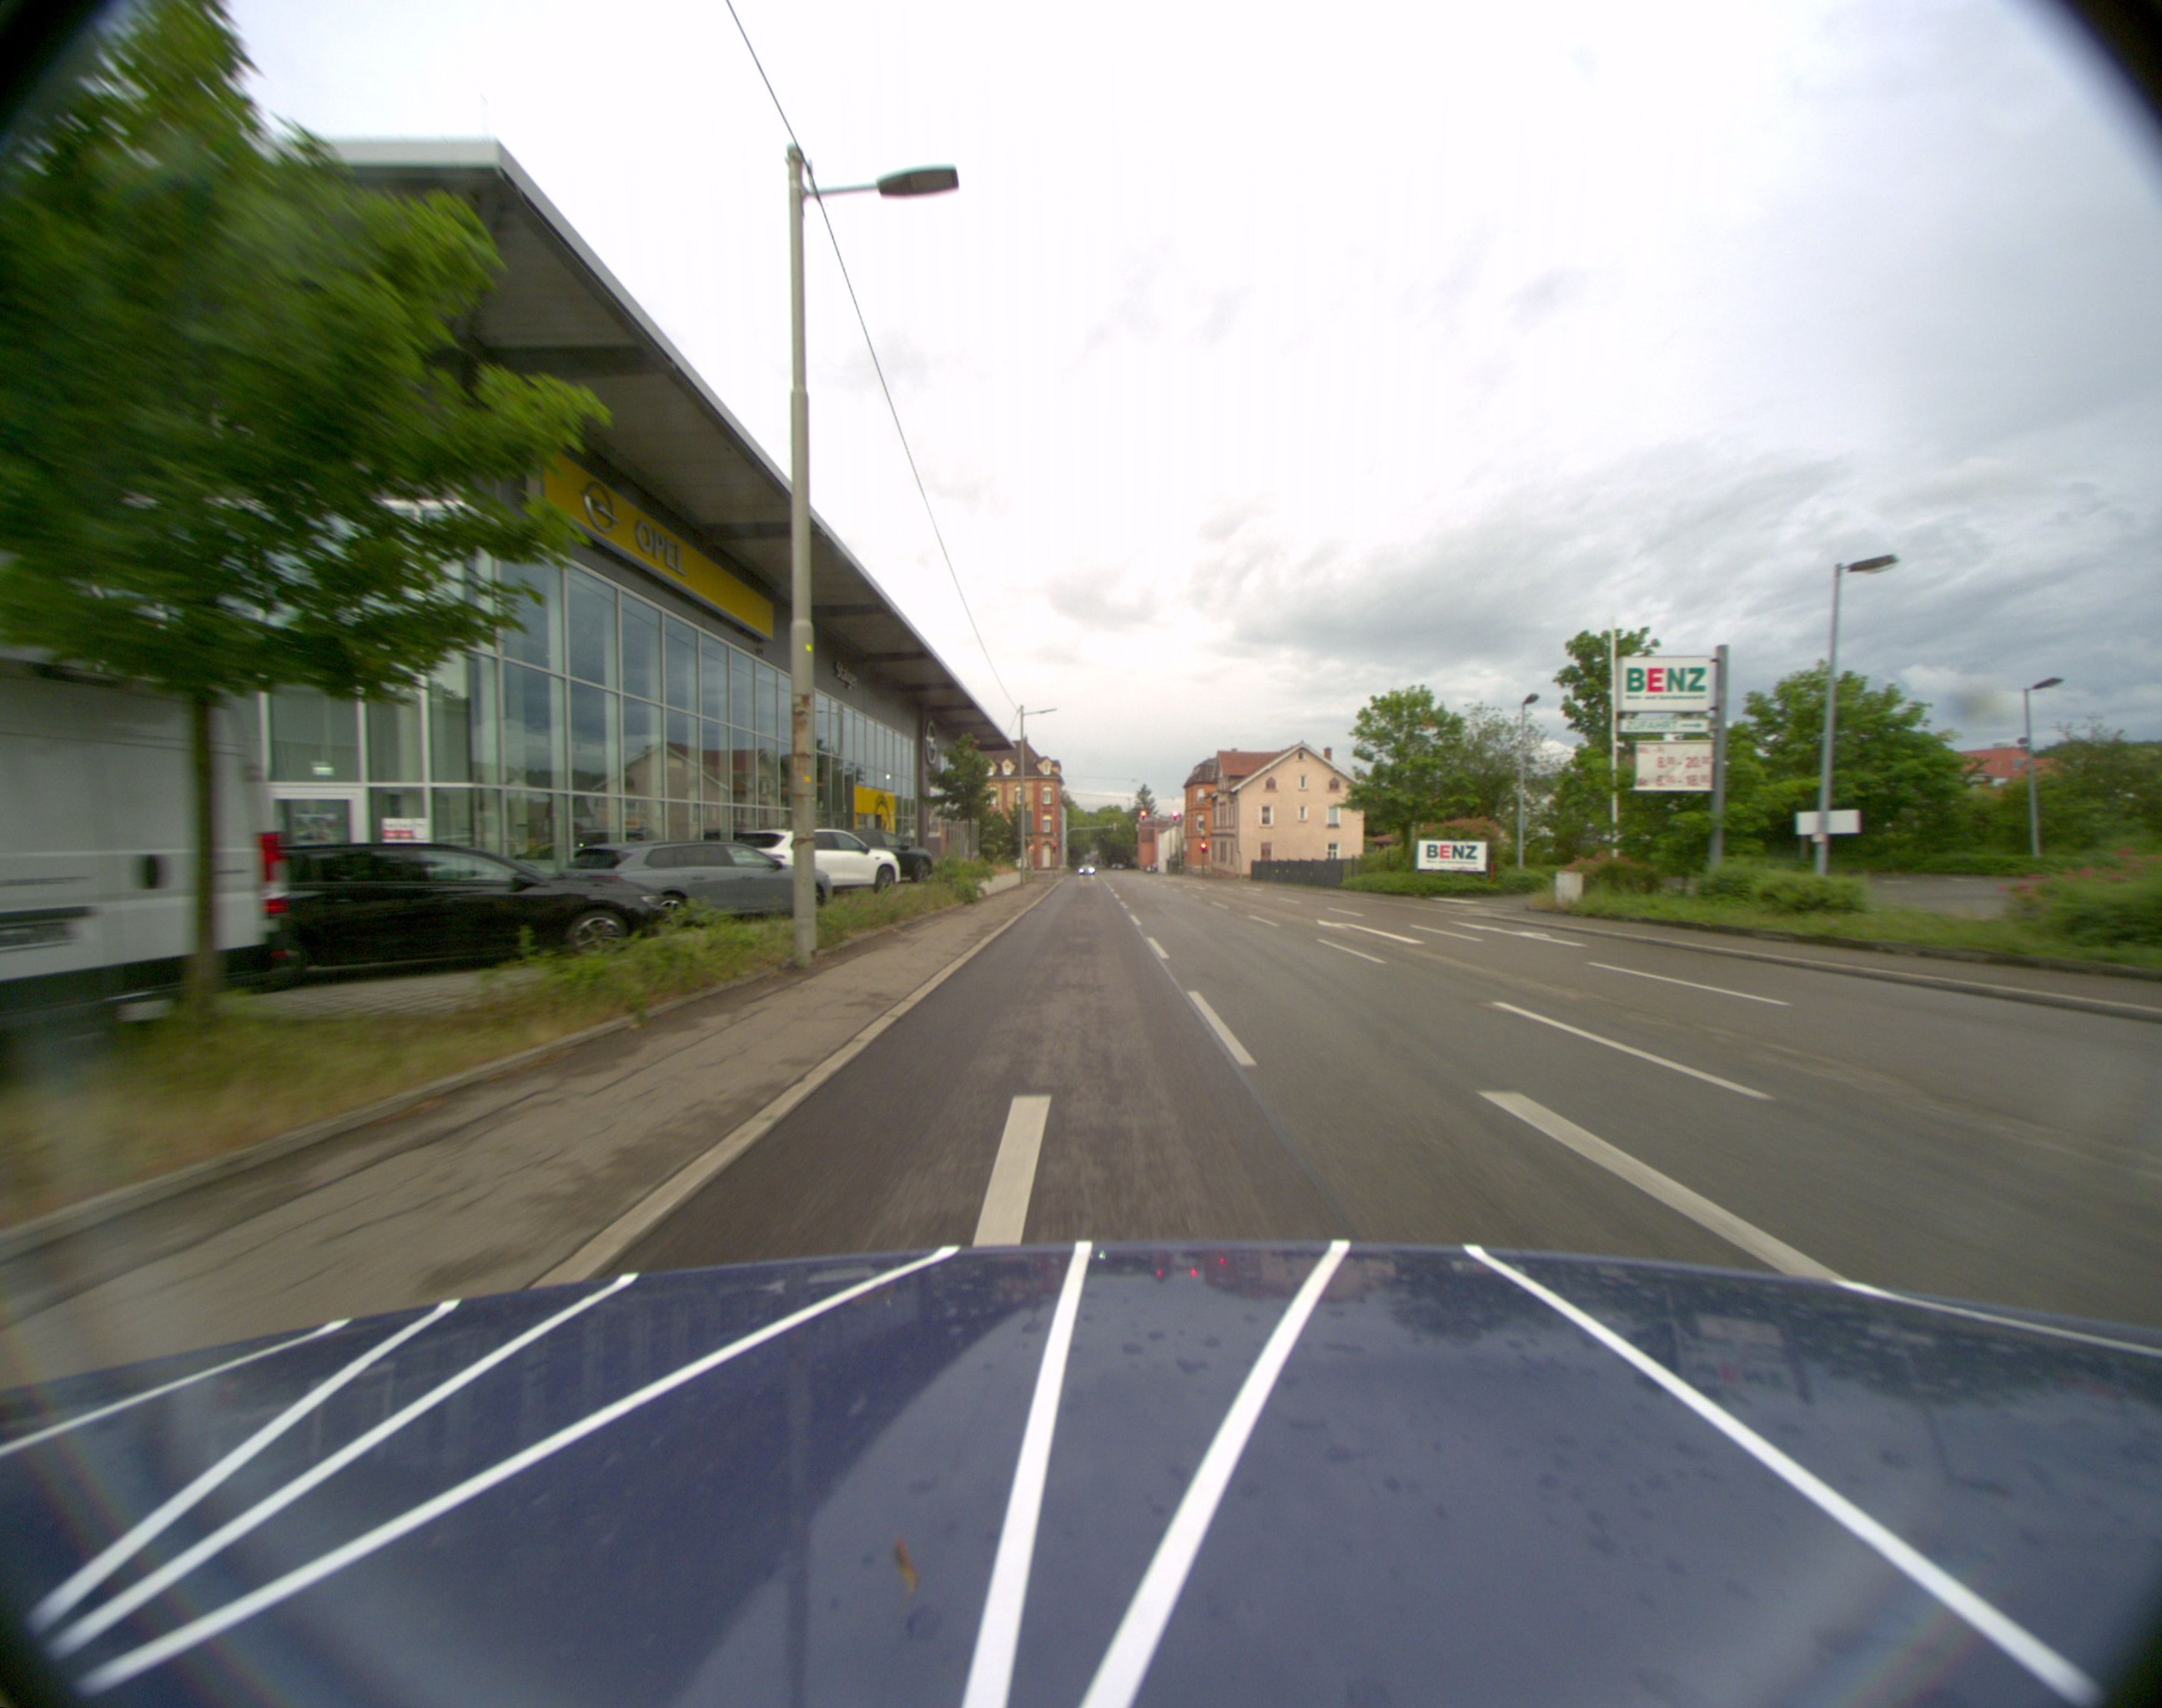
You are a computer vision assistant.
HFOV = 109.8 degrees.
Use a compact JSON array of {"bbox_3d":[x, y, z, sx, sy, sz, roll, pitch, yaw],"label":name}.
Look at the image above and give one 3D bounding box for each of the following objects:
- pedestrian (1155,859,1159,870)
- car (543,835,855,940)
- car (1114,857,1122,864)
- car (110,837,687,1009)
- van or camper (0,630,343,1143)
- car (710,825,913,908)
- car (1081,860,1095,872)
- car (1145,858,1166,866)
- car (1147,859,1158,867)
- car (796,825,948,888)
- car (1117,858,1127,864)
[{"bbox_3d":[12.953,1.783,129.133,0.642,1.696,0.911,-1,0,2],"label":"pedestrian"},{"bbox_3d":[-6.340,0.441,13.240,1.910,1.446,4.580,2,2,29],"label":"car"},{"bbox_3d":[9.342,1.627,190.806,1.816,1.537,4.198,3,0,0],"label":"car"},{"bbox_3d":[-7.287,0.584,8.762,4.527,1.446,1.910,0,2,-42],"label":"car"},{"bbox_3d":[-8.571,0.212,4.654,5.751,2.708,2.352,-1,1,1],"label":"van or camper"},{"bbox_3d":[-6.322,0.218,18.436,1.995,1.701,4.585,2,2,24],"label":"car"},{"bbox_3d":[0.928,1.518,97.990,1.842,1.403,4.000,0,0,1],"label":"car"},{"bbox_3d":[16.451,1.703,167.534,4.542,1.599,2.153,-2,0,3],"label":"car"},{"bbox_3d":[13.877,1.821,147.646,1.749,1.499,4.178,0,0,1],"label":"car"},{"bbox_3d":[-6.269,0.021,23.350,1.994,1.701,4.436,2,2,27],"label":"car"},{"bbox_3d":[9.694,1.690,179.680,1.789,1.402,4.197,2,0,-2],"label":"car"}]
